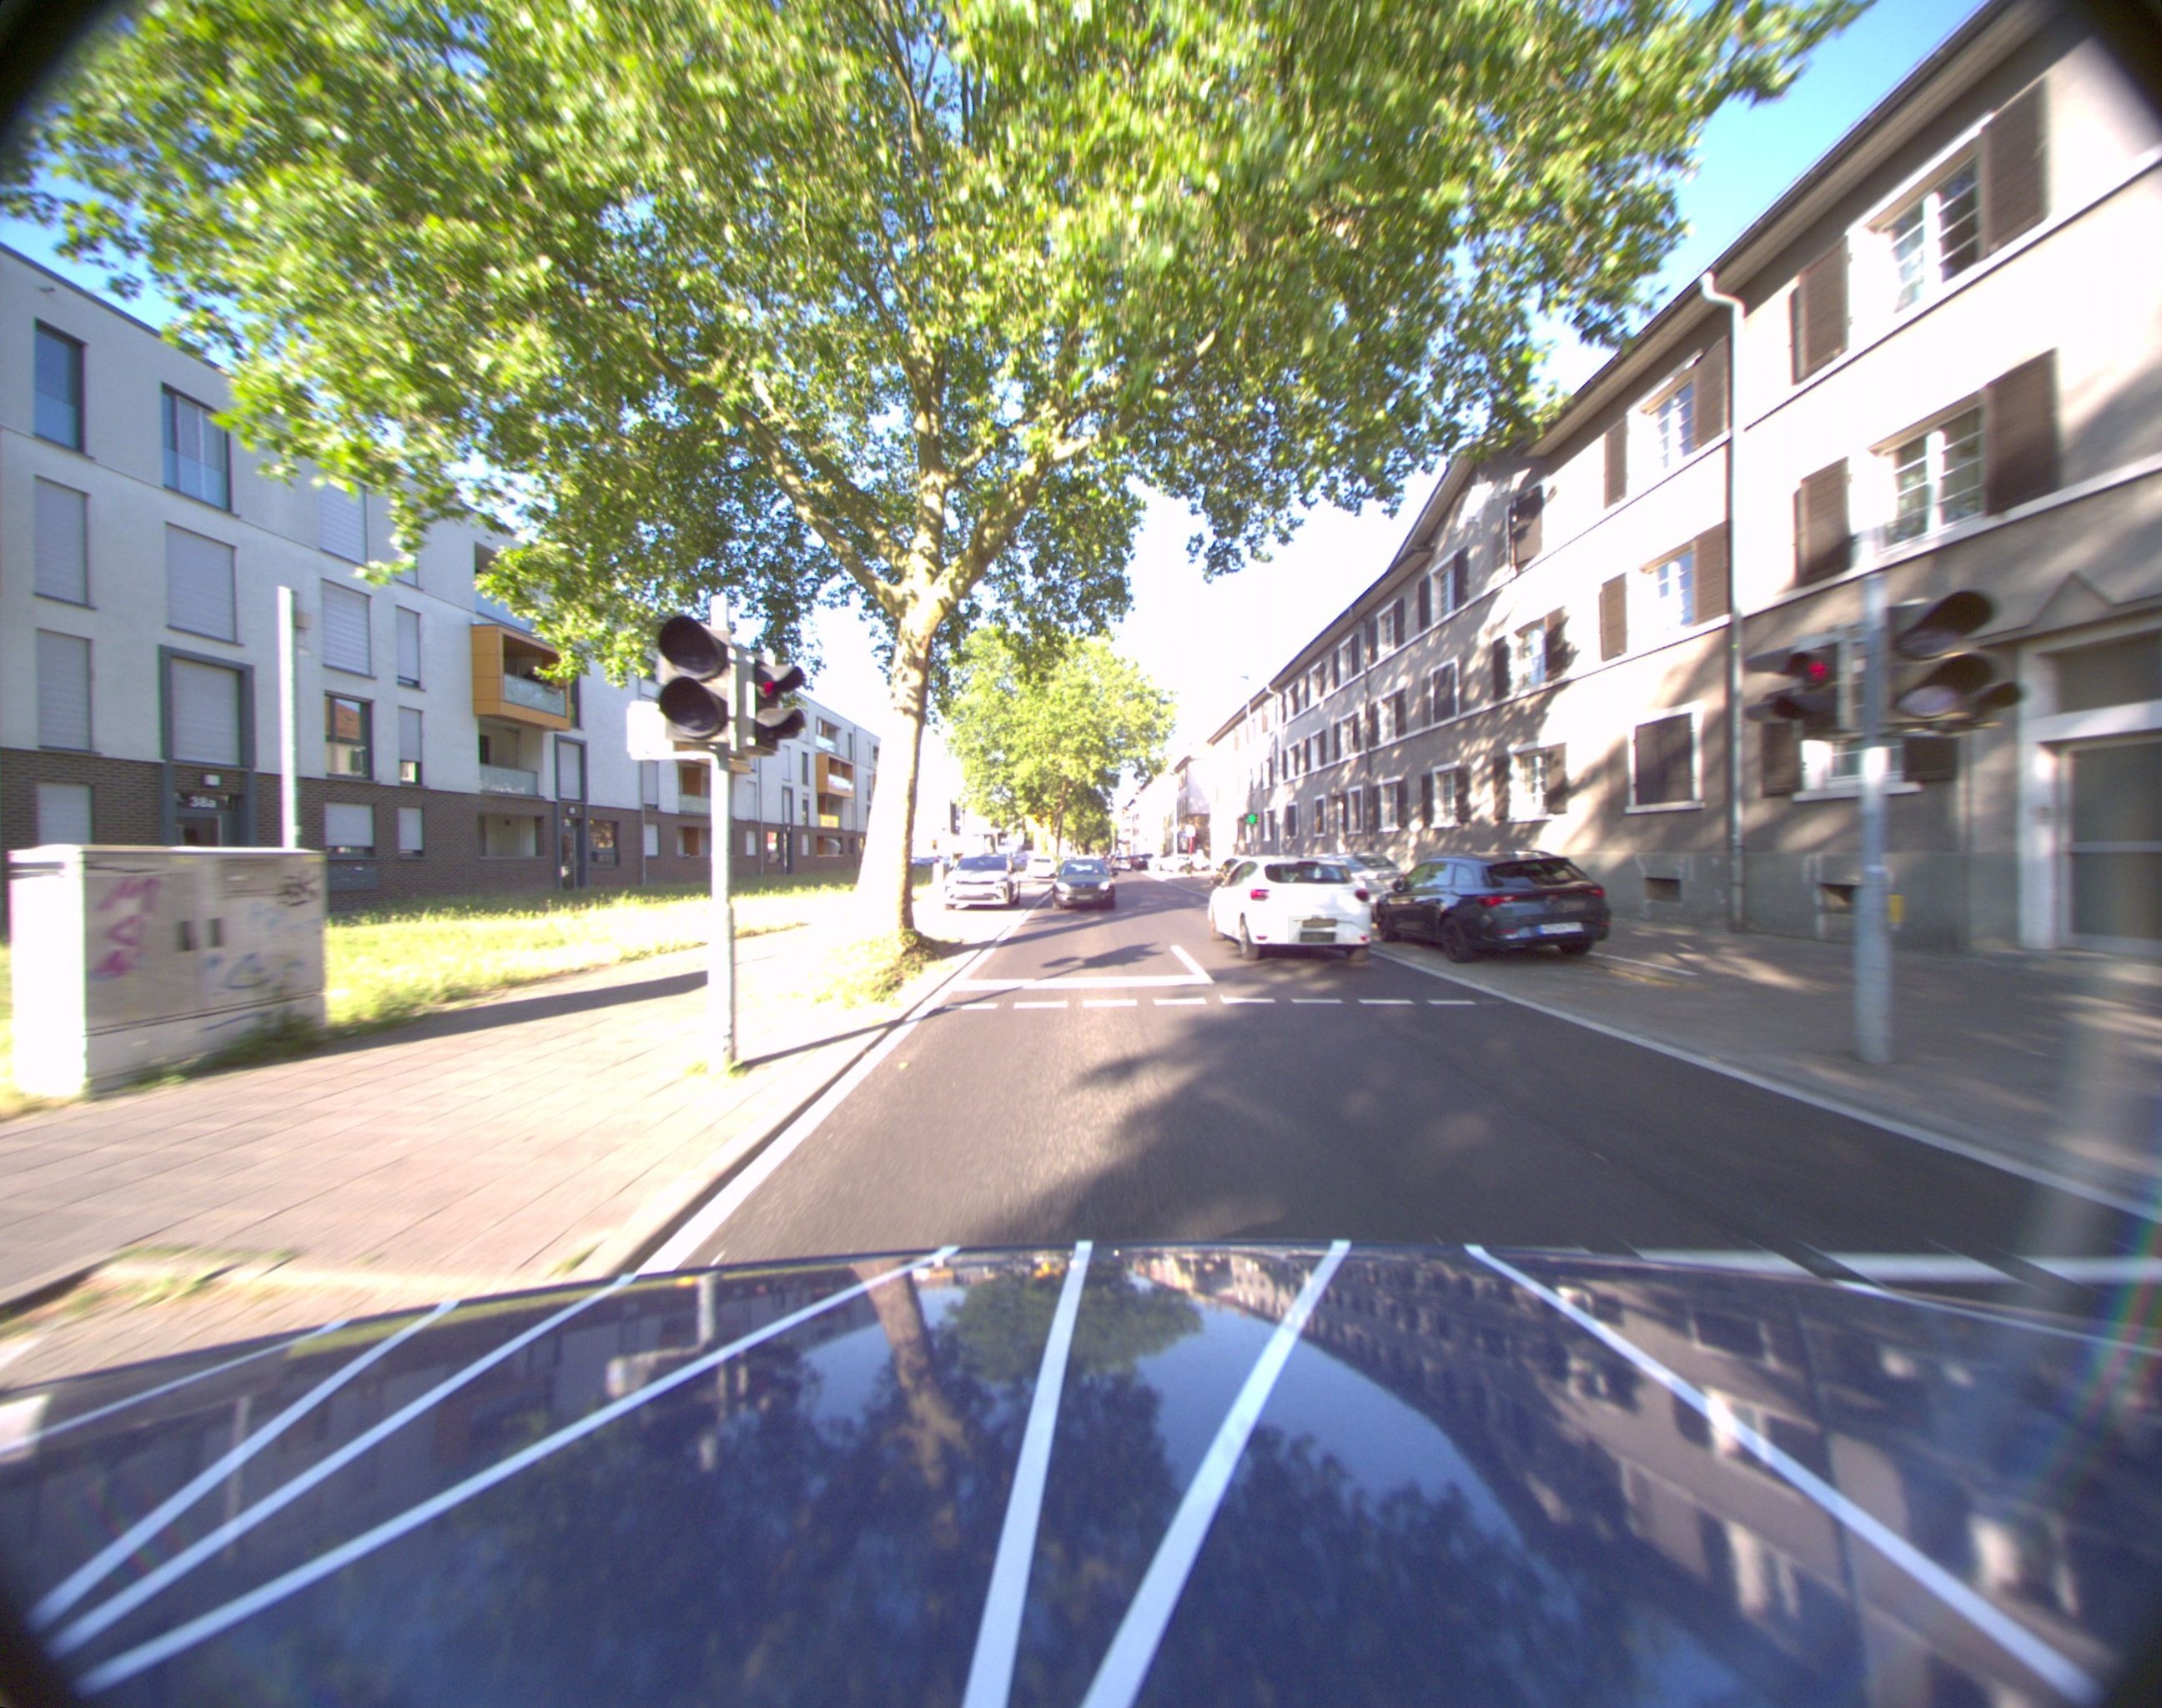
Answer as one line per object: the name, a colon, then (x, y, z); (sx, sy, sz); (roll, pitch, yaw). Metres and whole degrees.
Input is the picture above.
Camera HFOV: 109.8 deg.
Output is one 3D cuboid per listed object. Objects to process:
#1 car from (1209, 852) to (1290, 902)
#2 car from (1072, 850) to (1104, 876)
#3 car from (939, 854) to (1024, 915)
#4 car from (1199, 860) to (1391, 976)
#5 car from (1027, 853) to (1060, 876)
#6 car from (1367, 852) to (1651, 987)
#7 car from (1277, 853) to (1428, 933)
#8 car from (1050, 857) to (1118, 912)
car: (5.878, 0.756, 26.971); (1.870, 1.603, 4.086); (-2, 0, -1)
car: (0.458, 0.556, 49.421); (1.998, 1.565, 4.000); (0, 0, 1)
car: (-2.792, 0.800, 22.243); (1.870, 1.603, 4.087); (1, 0, 1)
car: (3.155, 0.860, 12.105); (1.870, 1.475, 4.086); (1, 0, 0)
car: (-2.434, 0.662, 50.357); (1.885, 1.475, 4.000); (0, 0, 1)
car: (5.849, 0.780, 11.062); (1.869, 1.475, 4.087); (-4, 0, 2)
car: (5.915, 0.771, 17.102); (1.870, 1.475, 4.086); (-3, 0, 0)
car: (0.050, 0.860, 23.015); (1.870, 1.471, 4.086); (0, 0, -1)
